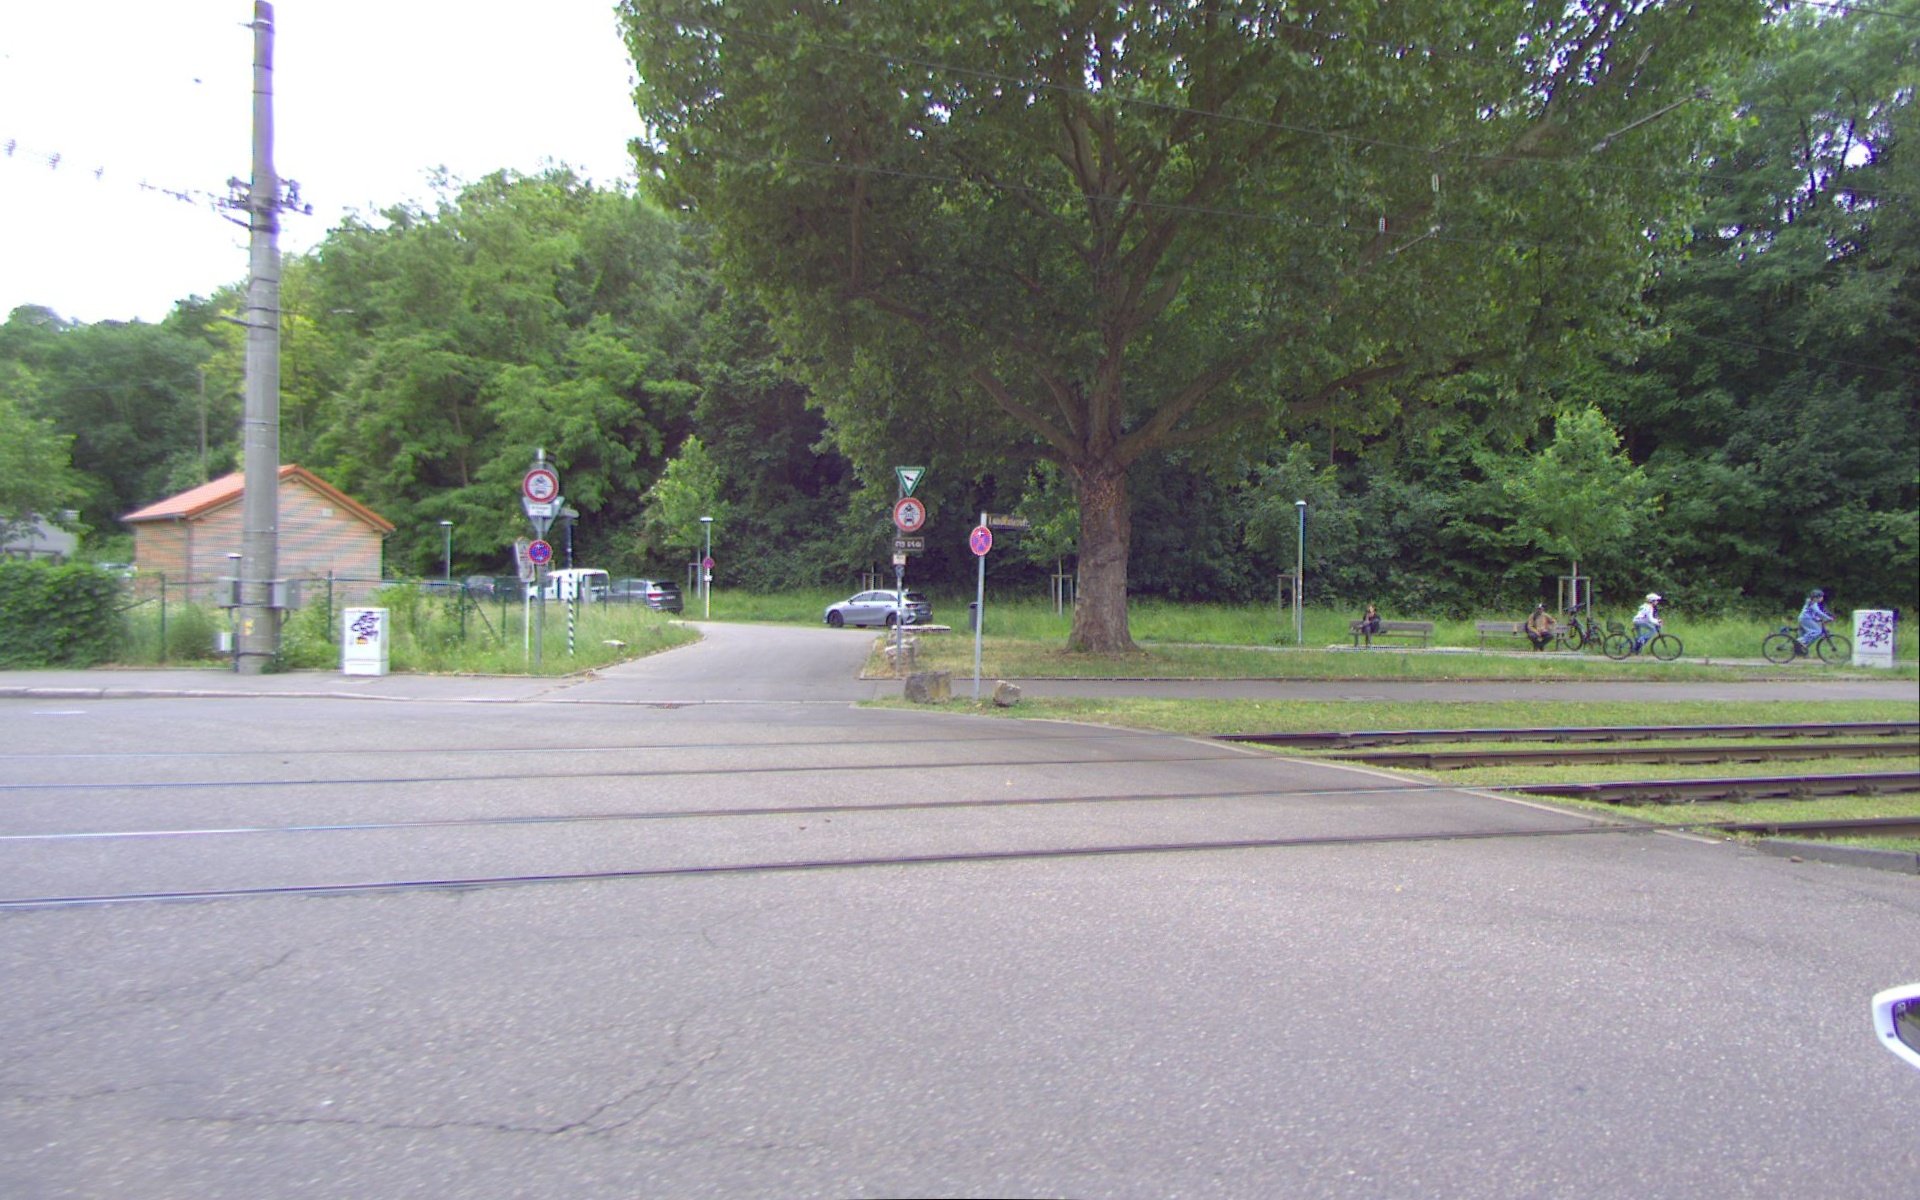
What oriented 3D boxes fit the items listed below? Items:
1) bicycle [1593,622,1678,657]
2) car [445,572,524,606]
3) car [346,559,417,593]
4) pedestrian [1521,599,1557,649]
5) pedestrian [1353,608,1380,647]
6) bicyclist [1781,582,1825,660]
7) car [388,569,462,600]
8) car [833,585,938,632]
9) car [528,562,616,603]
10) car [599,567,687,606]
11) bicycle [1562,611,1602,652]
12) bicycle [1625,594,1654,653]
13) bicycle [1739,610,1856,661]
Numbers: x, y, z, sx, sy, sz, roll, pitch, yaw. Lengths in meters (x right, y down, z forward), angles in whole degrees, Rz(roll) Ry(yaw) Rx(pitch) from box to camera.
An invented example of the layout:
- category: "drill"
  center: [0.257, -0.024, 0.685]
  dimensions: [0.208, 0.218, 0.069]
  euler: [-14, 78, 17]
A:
- category: "bicycle"
  center: [15.831, 0.920, 23.581]
  dimensions: [1.623, 0.749, 0.454]
  euler: [0, 4, 30]
- category: "car"
  center: [-22.906, -0.548, 48.418]
  dimensions: [3.616, 1.396, 1.753]
  euler: [3, 4, 31]
- category: "car"
  center: [-30.762, -1.283, 53.375]
  dimensions: [3.616, 1.635, 1.753]
  euler: [3, 4, 31]
- category: "pedestrian"
  center: [15.129, 0.614, 26.268]
  dimensions: [0.660, 1.252, 0.580]
  euler: [2, 4, 18]
- category: "pedestrian"
  center: [11.278, 0.755, 27.884]
  dimensions: [0.608, 1.003, 0.532]
  euler: [3, 4, 19]
- category: "bicyclist"
  center: [18.729, 0.458, 22.330]
  dimensions: [0.612, 1.698, 0.474]
  euler: [1, 4, 27]
- category: "car"
  center: [-27.365, -0.811, 51.374]
  dimensions: [3.616, 1.396, 1.753]
  euler: [3, 4, 31]
- category: "car"
  center: [-2.716, 0.275, 36.478]
  dimensions: [3.442, 1.443, 1.697]
  euler: [3, 4, 31]
- category: "car"
  center: [-17.407, -0.835, 45.059]
  dimensions: [3.616, 1.635, 1.905]
  euler: [3, 4, 31]
- category: "car"
  center: [-13.291, -0.615, 42.115]
  dimensions: [3.442, 1.443, 1.697]
  euler: [3, 4, 31]
- category: "bicycle"
  center: [16.177, 0.810, 26.164]
  dimensions: [0.610, 0.897, 1.745]
  euler: [3, 4, 24]
- category: "bicycle"
  center: [15.902, 0.541, 23.509]
  dimensions: [0.507, 1.348, 0.454]
  euler: [1, 4, 30]
- category: "bicycle"
  center: [18.639, 0.774, 22.405]
  dimensions: [1.909, 1.055, 0.474]
  euler: [1, 4, 27]
